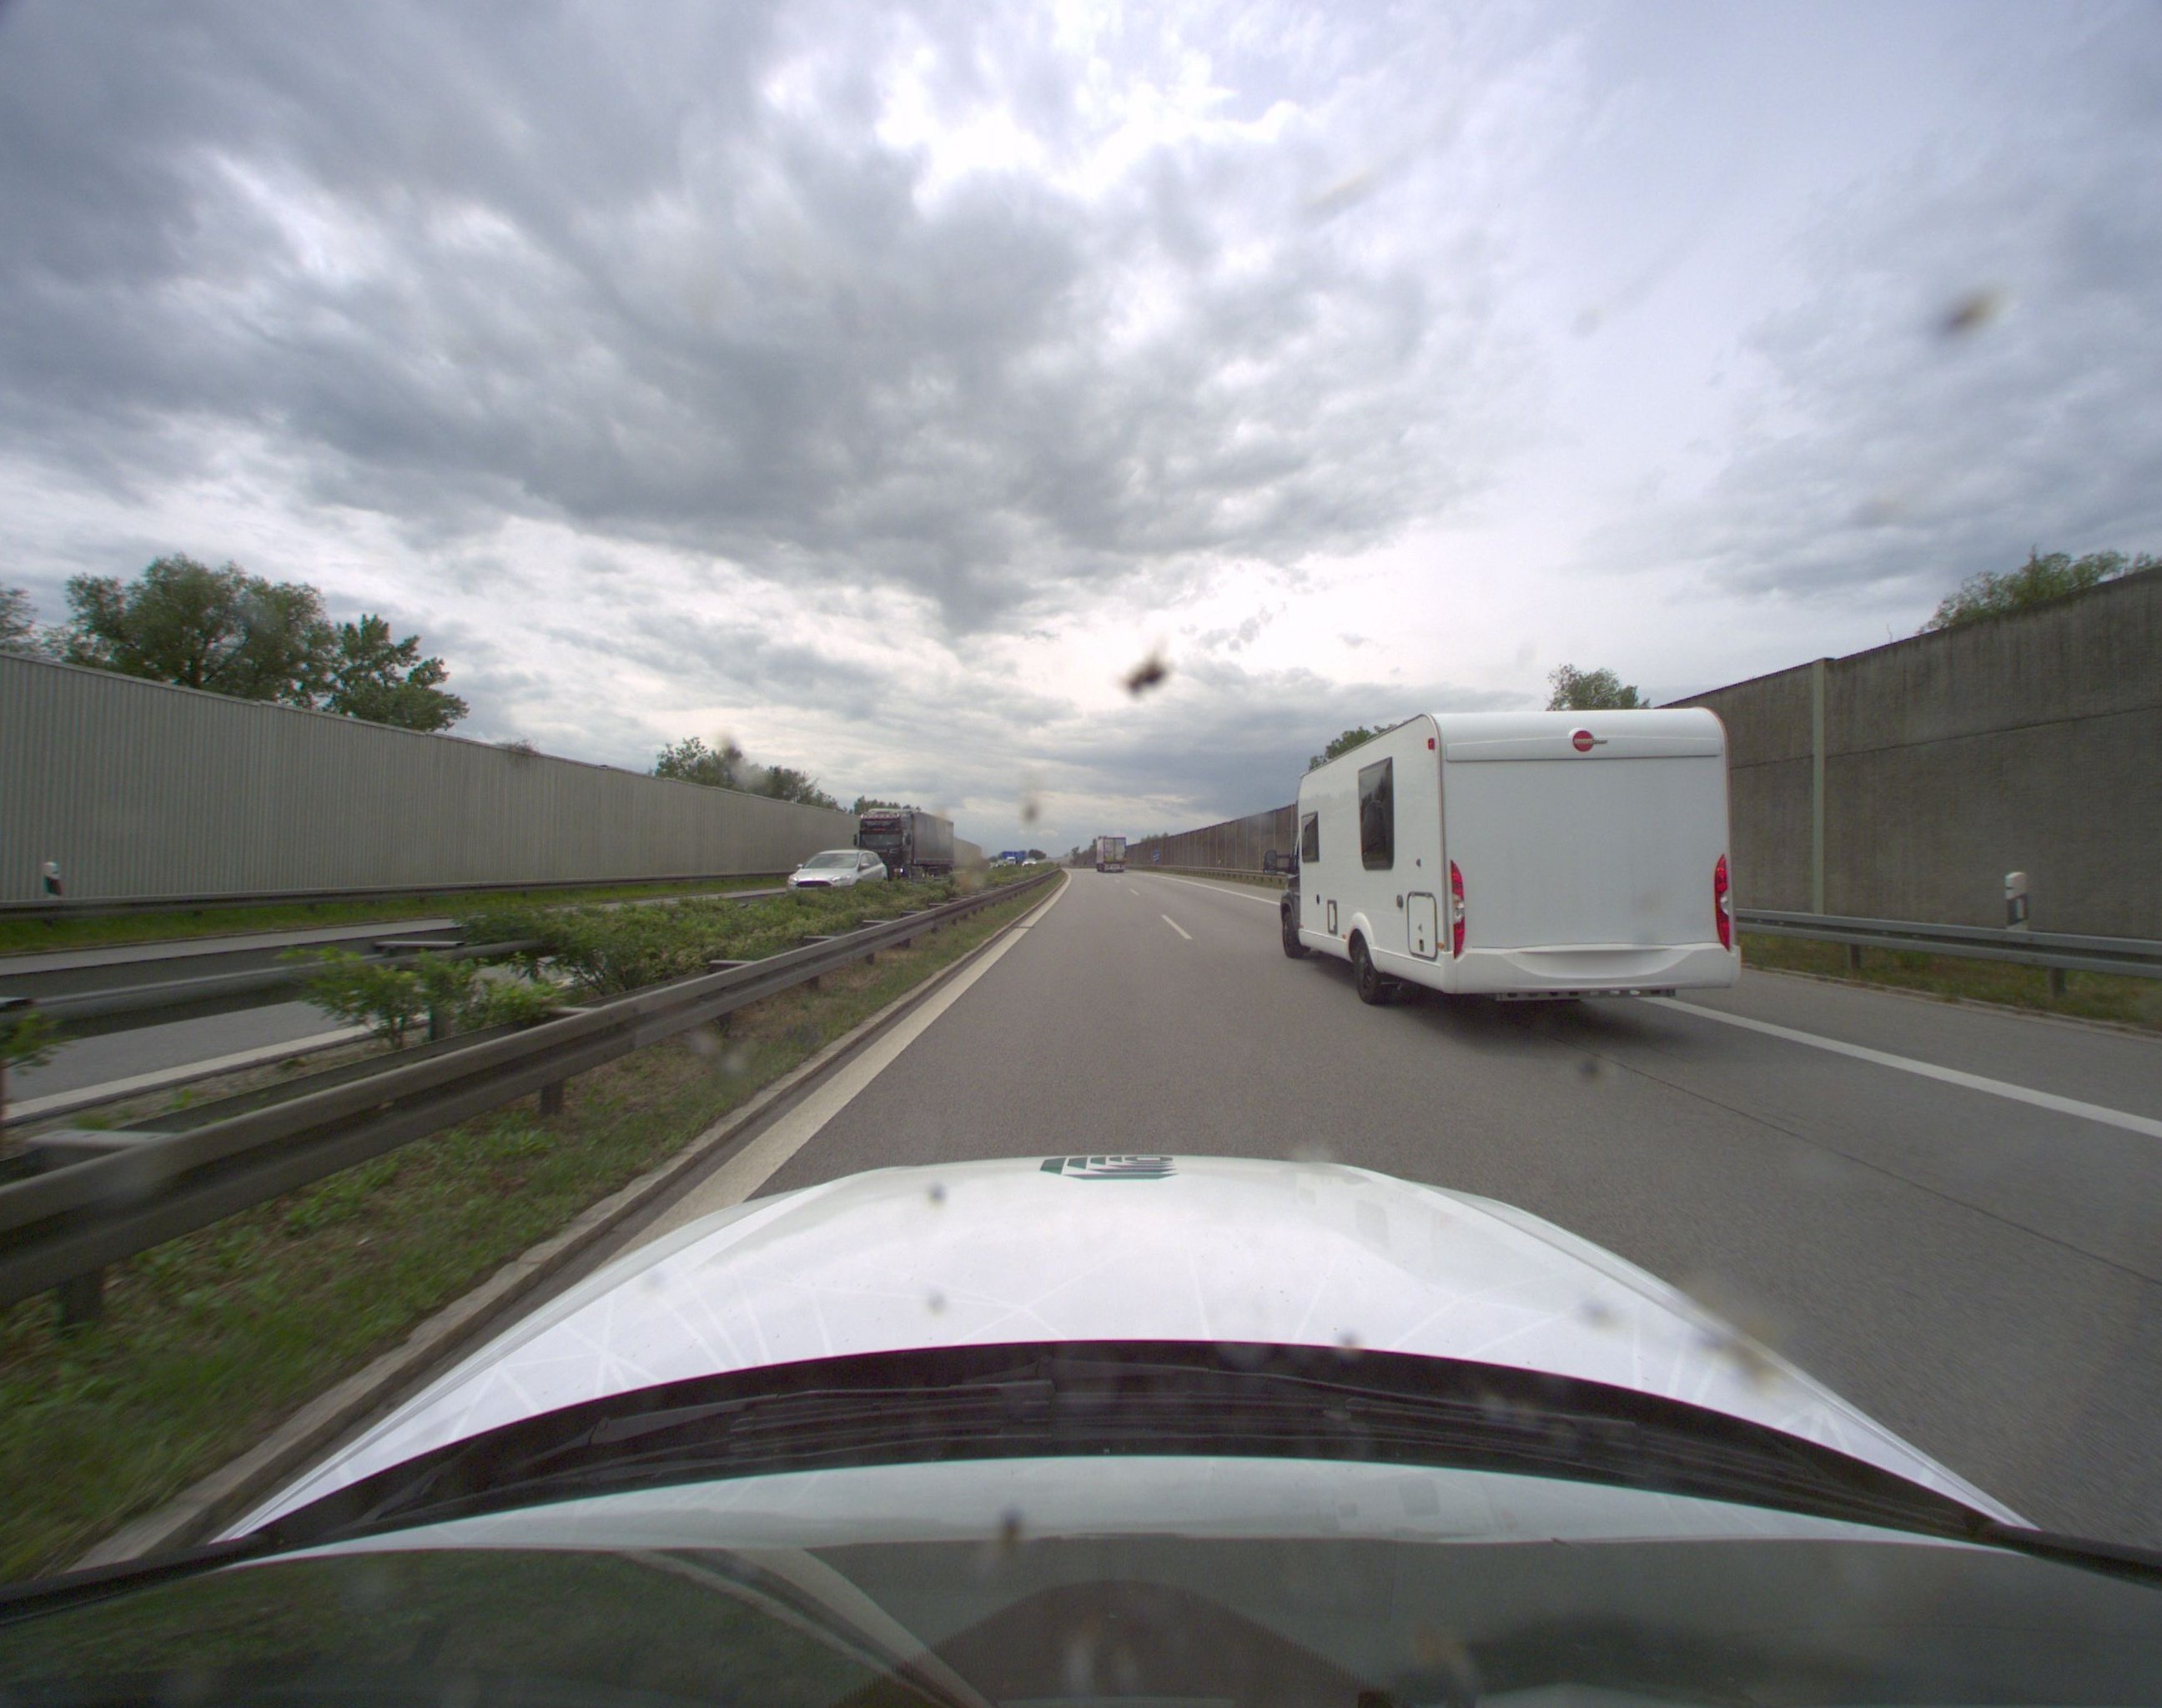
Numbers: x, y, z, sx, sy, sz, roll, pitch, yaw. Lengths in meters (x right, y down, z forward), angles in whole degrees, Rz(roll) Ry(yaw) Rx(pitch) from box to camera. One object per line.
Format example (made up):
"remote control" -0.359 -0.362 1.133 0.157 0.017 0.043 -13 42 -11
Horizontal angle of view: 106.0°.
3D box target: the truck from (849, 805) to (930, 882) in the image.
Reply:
"truck" -10.275 -0.503 44.287 2.863 3.859 6.075 -1 -1 1

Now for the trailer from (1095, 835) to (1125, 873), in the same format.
"trailer" 3.398 0.159 99.024 2.785 4.175 14.092 -1 -1 -2

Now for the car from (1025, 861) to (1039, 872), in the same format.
"car" -7.671 1.895 128.347 1.958 1.670 4.923 0 -1 0

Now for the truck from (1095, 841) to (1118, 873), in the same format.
"truck" 3.283 0.408 105.343 2.747 3.960 5.675 -1 -1 0

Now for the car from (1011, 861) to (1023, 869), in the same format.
"car" -12.075 2.069 153.142 1.988 1.364 4.964 0 -1 -1

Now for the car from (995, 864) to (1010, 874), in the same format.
"car" -11.264 2.168 117.296 1.717 1.417 4.552 -1 -1 -1

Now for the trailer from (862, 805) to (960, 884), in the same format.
"trailer" -10.221 -0.457 51.062 2.971 4.240 14.179 -1 0 1

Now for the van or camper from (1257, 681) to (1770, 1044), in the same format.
"van or camper" 3.991 0.086 9.669 2.420 2.697 7.227 0 0 2

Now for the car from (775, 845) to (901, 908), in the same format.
"car" -6.526 0.559 22.441 1.924 1.549 4.569 0 0 2
